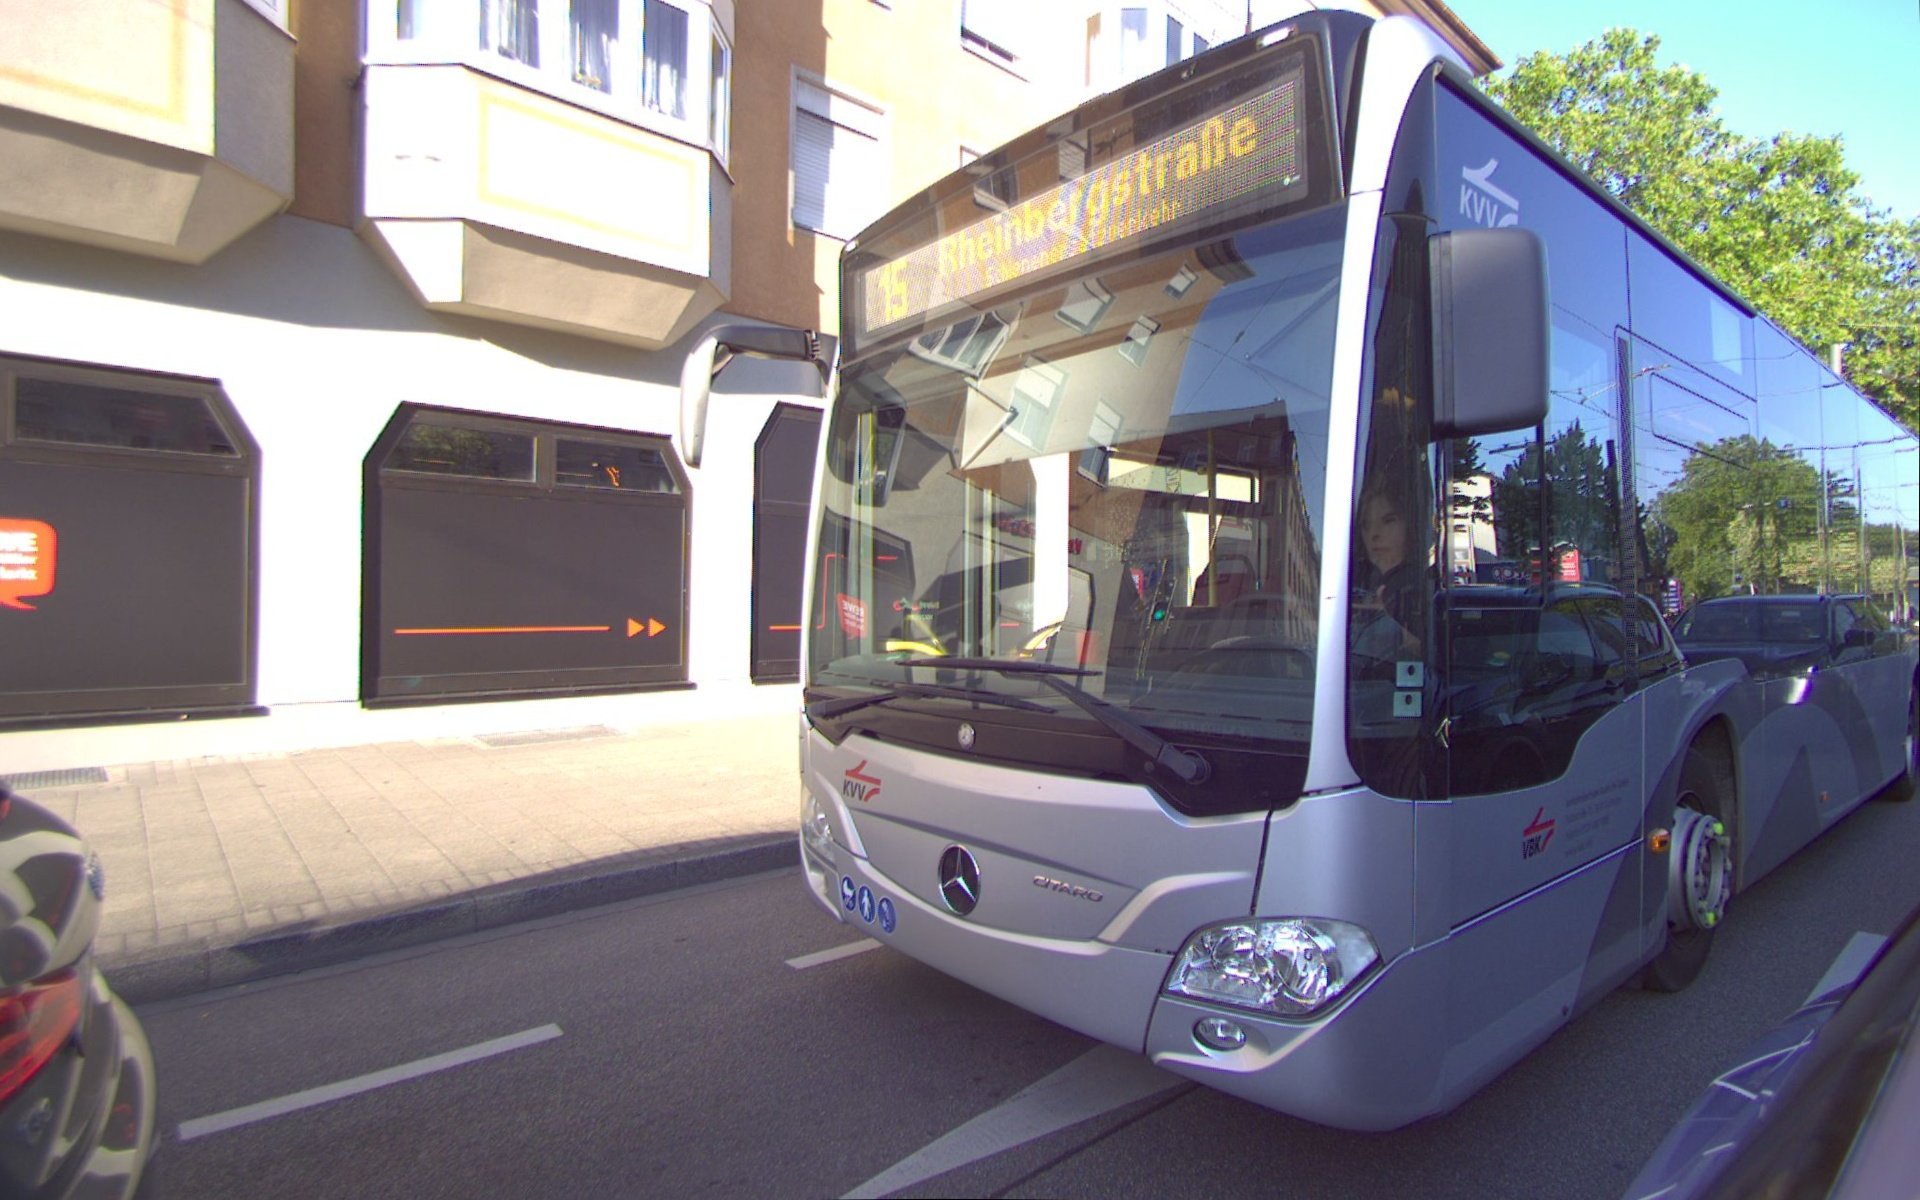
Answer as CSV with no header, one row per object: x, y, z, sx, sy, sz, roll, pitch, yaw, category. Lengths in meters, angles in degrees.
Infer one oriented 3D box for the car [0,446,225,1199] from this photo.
-2.903,0.644,0.367,4.151,1.572,1.700,0,-1,-41,car

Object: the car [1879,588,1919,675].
19.479,0.574,19.899,3.759,1.628,1.747,-1,0,-43,car

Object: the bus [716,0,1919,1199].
6.491,-0.148,8.692,17.432,3.189,2.771,0,1,-41,bus
